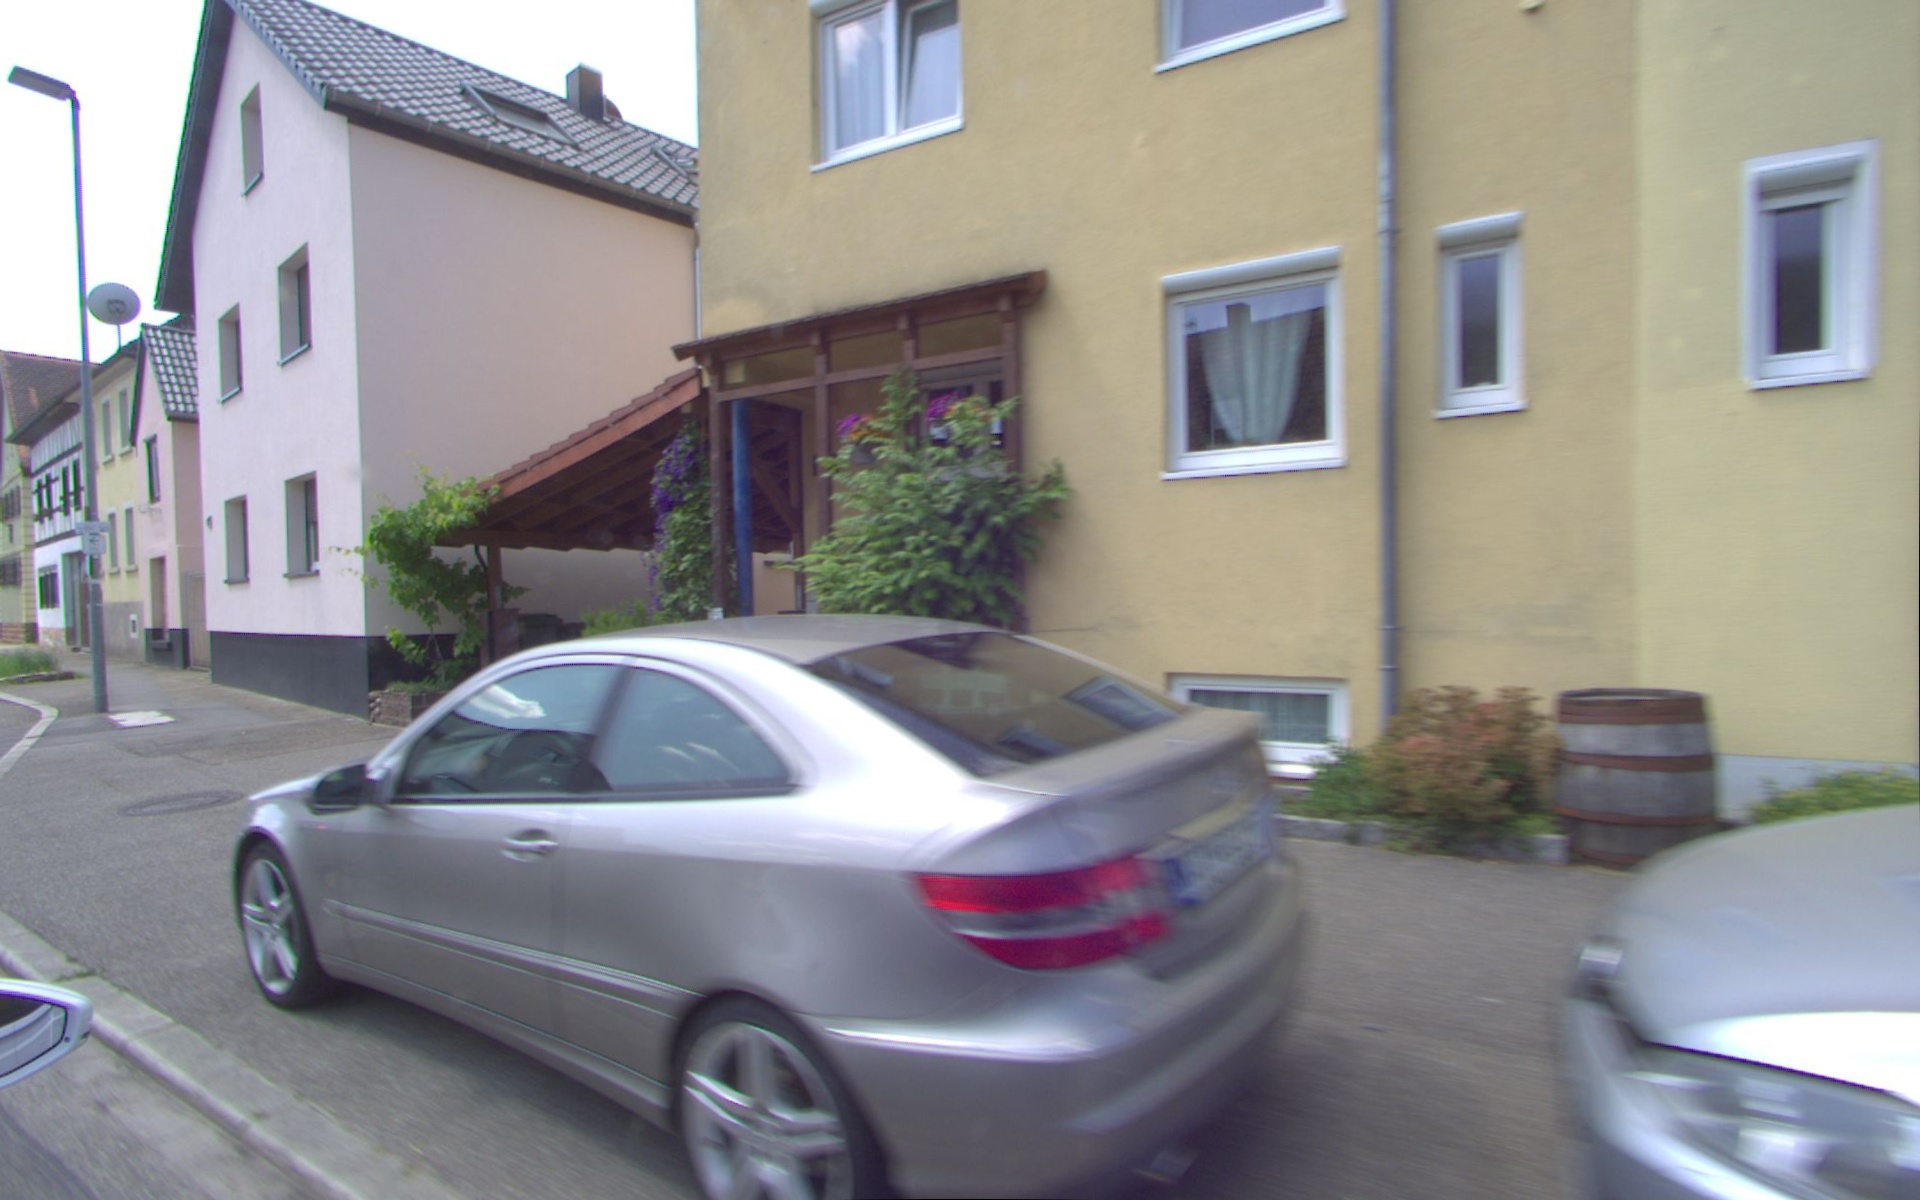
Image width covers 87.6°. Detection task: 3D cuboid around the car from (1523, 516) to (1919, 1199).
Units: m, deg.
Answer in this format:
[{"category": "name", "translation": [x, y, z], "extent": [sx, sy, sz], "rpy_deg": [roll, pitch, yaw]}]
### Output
[{"category": "car", "translation": [3.120, 0.606, 1.163], "extent": [4.270, 1.551, 1.881], "rpy_deg": [-1, 2, 29]}]

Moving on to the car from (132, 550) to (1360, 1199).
[{"category": "car", "translation": [-1.088, 0.674, 3.580], "extent": [4.367, 1.419, 1.763], "rpy_deg": [-2, 2, 36]}]
